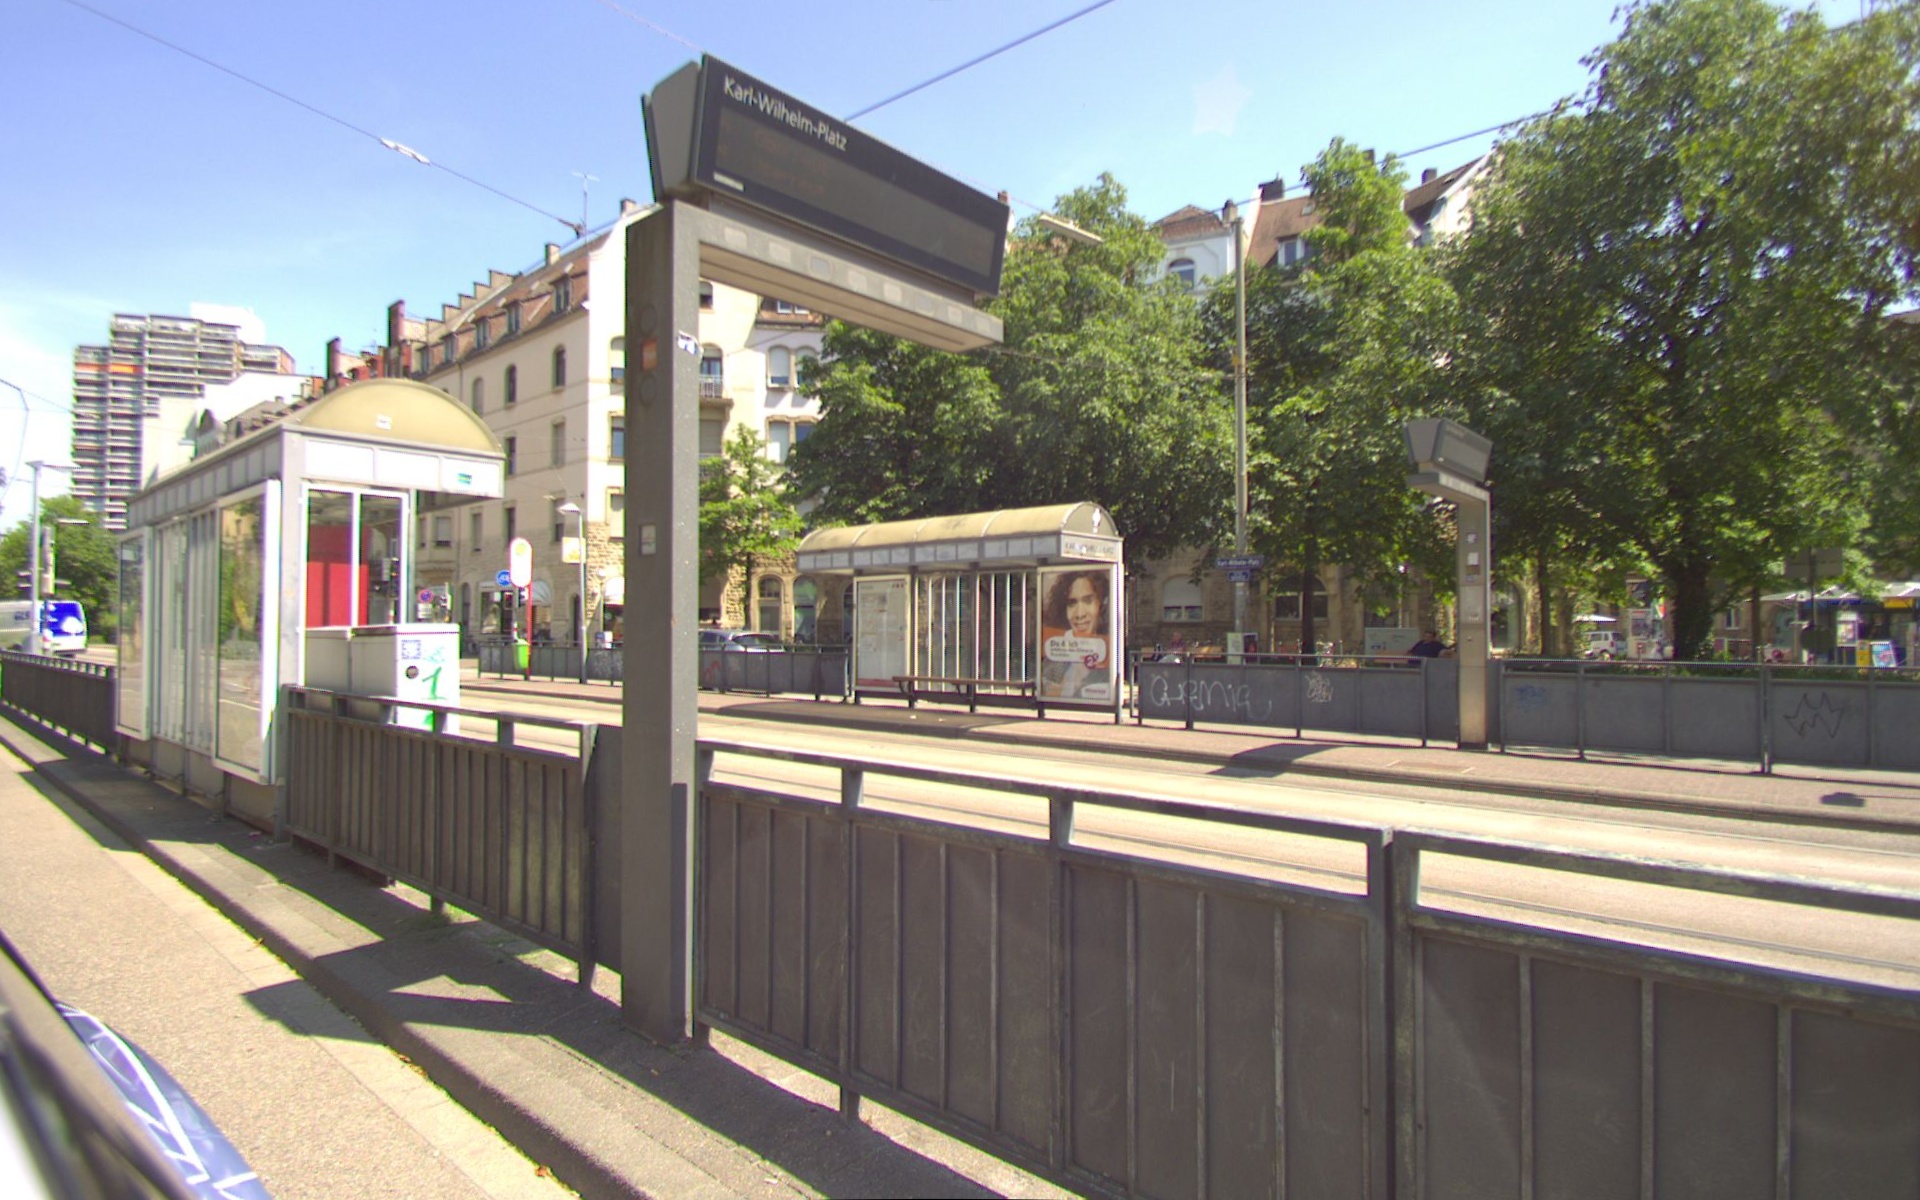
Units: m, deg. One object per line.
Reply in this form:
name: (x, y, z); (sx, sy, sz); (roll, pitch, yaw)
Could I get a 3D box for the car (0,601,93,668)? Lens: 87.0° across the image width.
car: (-39.957, 1.416, 42.854); (5.779, 2.693, 2.261); (-1, 0, 18)

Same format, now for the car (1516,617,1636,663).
car: (26.723, 1.687, 44.006); (1.966, 1.803, 4.011); (-1, 0, -33)

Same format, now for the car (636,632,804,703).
car: (-5.594, 1.481, 23.358); (3.998, 1.404, 1.789); (-1, 0, 41)

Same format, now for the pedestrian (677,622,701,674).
pedestrian: (-8.844, 1.561, 33.027); (0.473, 1.659, 0.586); (-2, -3, 41)

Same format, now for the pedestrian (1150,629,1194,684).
pedestrian: (5.098, 1.347, 24.312); (0.930, 1.253, 0.860); (-1, 0, 17)

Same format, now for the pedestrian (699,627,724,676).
pedestrian: (-7.979, 1.649, 32.491); (0.473, 1.563, 0.586); (-2, -3, 39)

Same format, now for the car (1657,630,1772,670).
car: (35.793, 2.330, 48.098); (1.736, 1.721, 3.998); (-1, 0, -33)

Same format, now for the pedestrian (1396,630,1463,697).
pedestrian: (9.287, 1.231, 20.036); (0.852, 1.253, 0.939); (-1, 0, -43)
